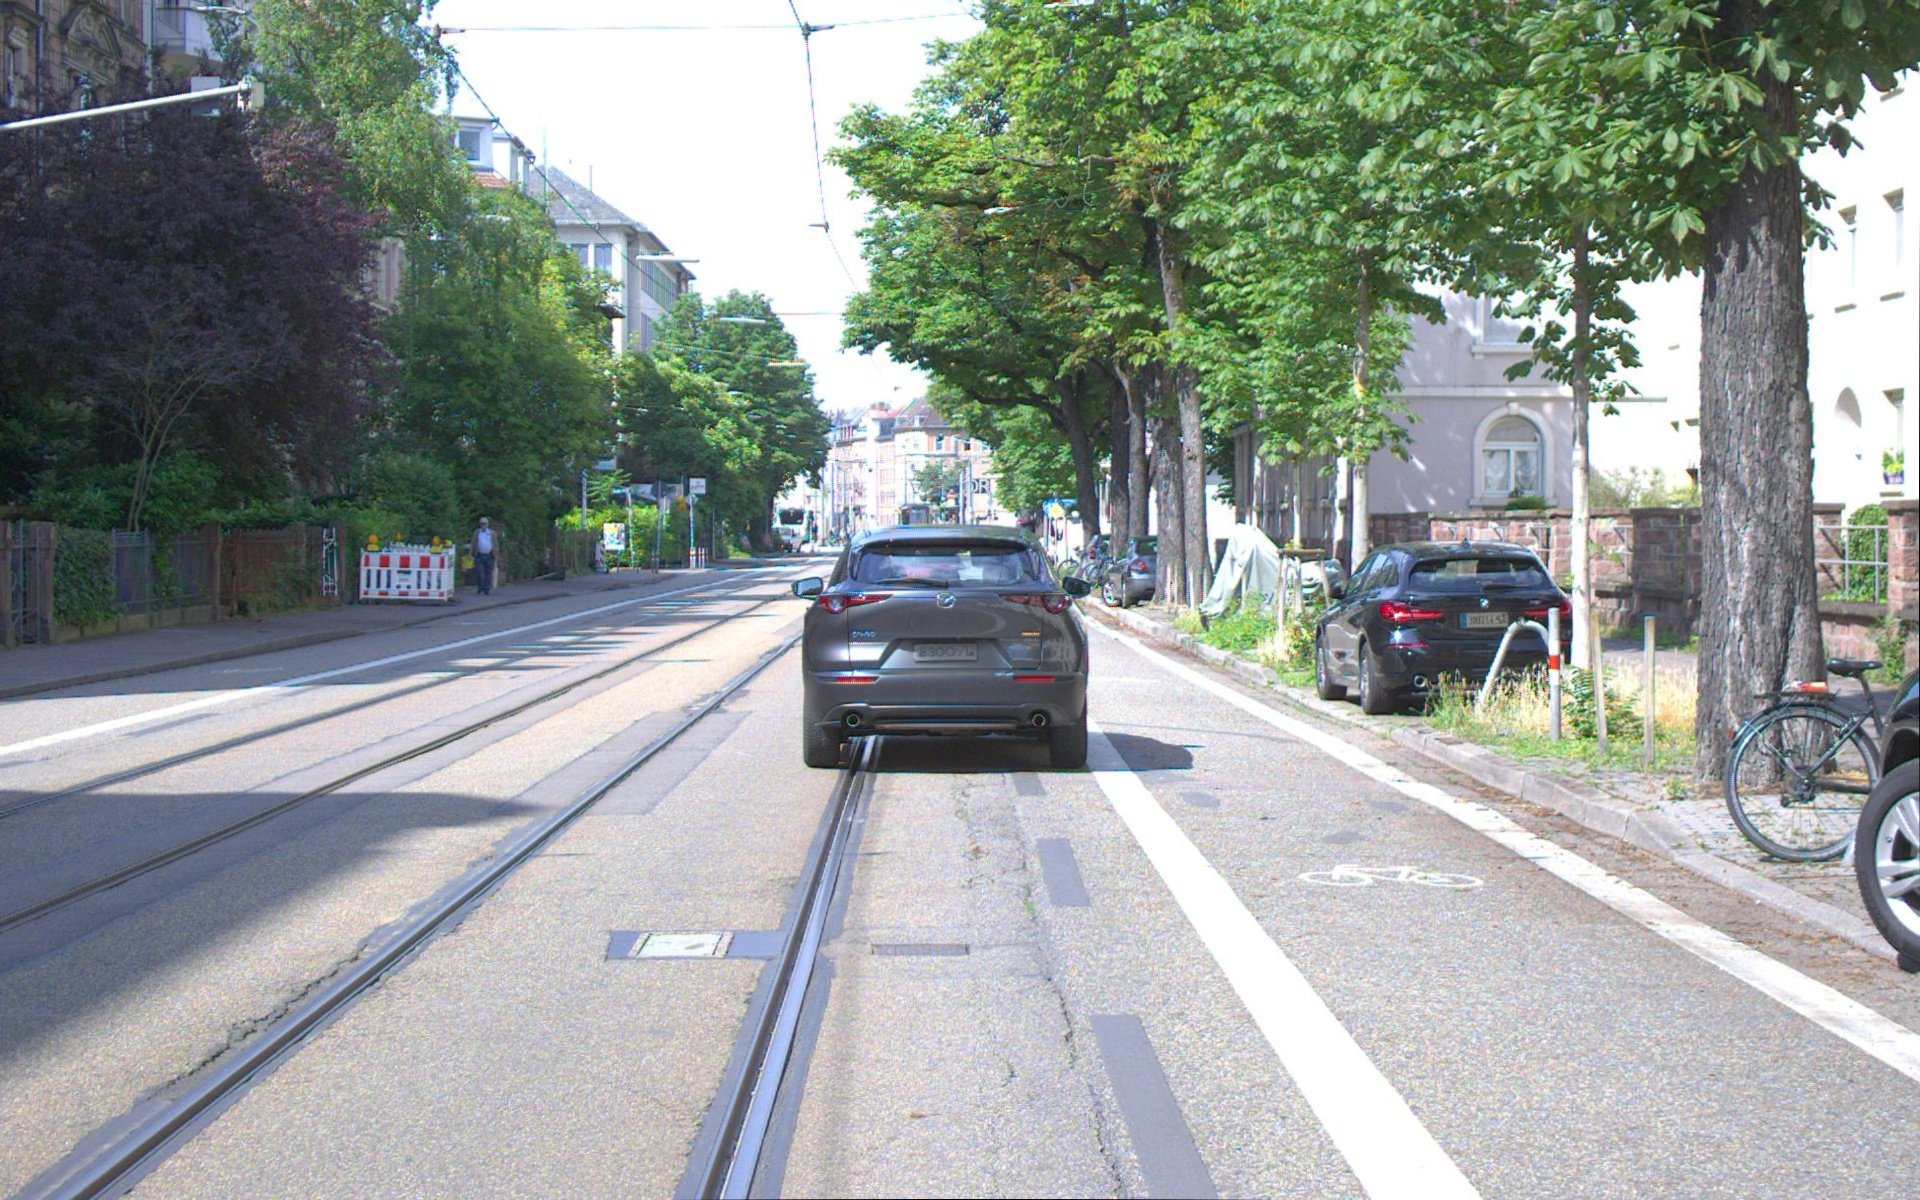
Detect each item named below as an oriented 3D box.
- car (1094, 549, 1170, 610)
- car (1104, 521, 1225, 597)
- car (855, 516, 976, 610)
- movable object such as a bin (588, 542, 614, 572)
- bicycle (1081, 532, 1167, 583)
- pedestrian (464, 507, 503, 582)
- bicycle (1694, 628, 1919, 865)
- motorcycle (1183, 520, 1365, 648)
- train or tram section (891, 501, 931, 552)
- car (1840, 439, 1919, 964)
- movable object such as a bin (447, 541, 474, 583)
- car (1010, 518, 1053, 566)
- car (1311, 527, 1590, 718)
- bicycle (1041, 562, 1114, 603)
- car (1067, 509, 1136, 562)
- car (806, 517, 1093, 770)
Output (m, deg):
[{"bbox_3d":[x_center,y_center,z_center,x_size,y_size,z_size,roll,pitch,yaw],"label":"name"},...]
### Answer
[{"bbox_3d":[4.266,-0.524,85.658,1.666,1.425,3.766,-2,1,0],"label":"car"},{"bbox_3d":[4.006,-0.823,68.026,1.846,1.404,4.395,-2,1,-3],"label":"car"},{"bbox_3d":[-0.783,-0.668,60.371,1.993,1.523,4.000,2,1,-1],"label":"car"},{"bbox_3d":[-12.102,-1.457,115.881,0.745,0.984,1.114,2,1,-1],"label":"movable object such as a bin"},{"bbox_3d":[3.872,-1.004,81.086,1.938,1.172,0.513,-1,0,12],"label":"bicycle"},{"bbox_3d":[-10.991,-1.279,79.290,0.822,1.700,0.891,0,1,-3],"label":"pedestrian"},{"bbox_3d":[4.192,0.639,15.309,1.708,1.003,0.638,0,1,0],"label":"bicycle"},{"bbox_3d":[4.142,-0.232,45.489,2.385,1.592,0.677,3,3,38],"label":"motorcycle"},{"bbox_3d":[-3.719,-5.501,257.681,2.571,3.759,13.027,0,1,-3],"label":"train or tram section"},{"bbox_3d":[4.175,0.376,10.267,1.827,1.776,4.733,0,2,-1],"label":"car"},{"bbox_3d":[-12.938,-0.994,89.088,0.538,1.090,0.789,0,1,4],"label":"movable object such as a bin"},{"bbox_3d":[2.984,-2.430,144.031,1.720,1.962,4.207,0,1,0],"label":"car"},{"bbox_3d":[4.157,0.145,29.732,1.706,1.474,4.197,2,1,-1],"label":"car"},{"bbox_3d":[3.086,-0.460,90.208,1.903,1.068,0.402,0,1,0],"label":"bicycle"},{"bbox_3d":[5.223,-2.398,127.425,1.786,1.932,4.992,0,1,-7],"label":"car"},{"bbox_3d":[-0.086,0.225,22.476,1.720,1.521,3.590,0,1,-1],"label":"car"}]
